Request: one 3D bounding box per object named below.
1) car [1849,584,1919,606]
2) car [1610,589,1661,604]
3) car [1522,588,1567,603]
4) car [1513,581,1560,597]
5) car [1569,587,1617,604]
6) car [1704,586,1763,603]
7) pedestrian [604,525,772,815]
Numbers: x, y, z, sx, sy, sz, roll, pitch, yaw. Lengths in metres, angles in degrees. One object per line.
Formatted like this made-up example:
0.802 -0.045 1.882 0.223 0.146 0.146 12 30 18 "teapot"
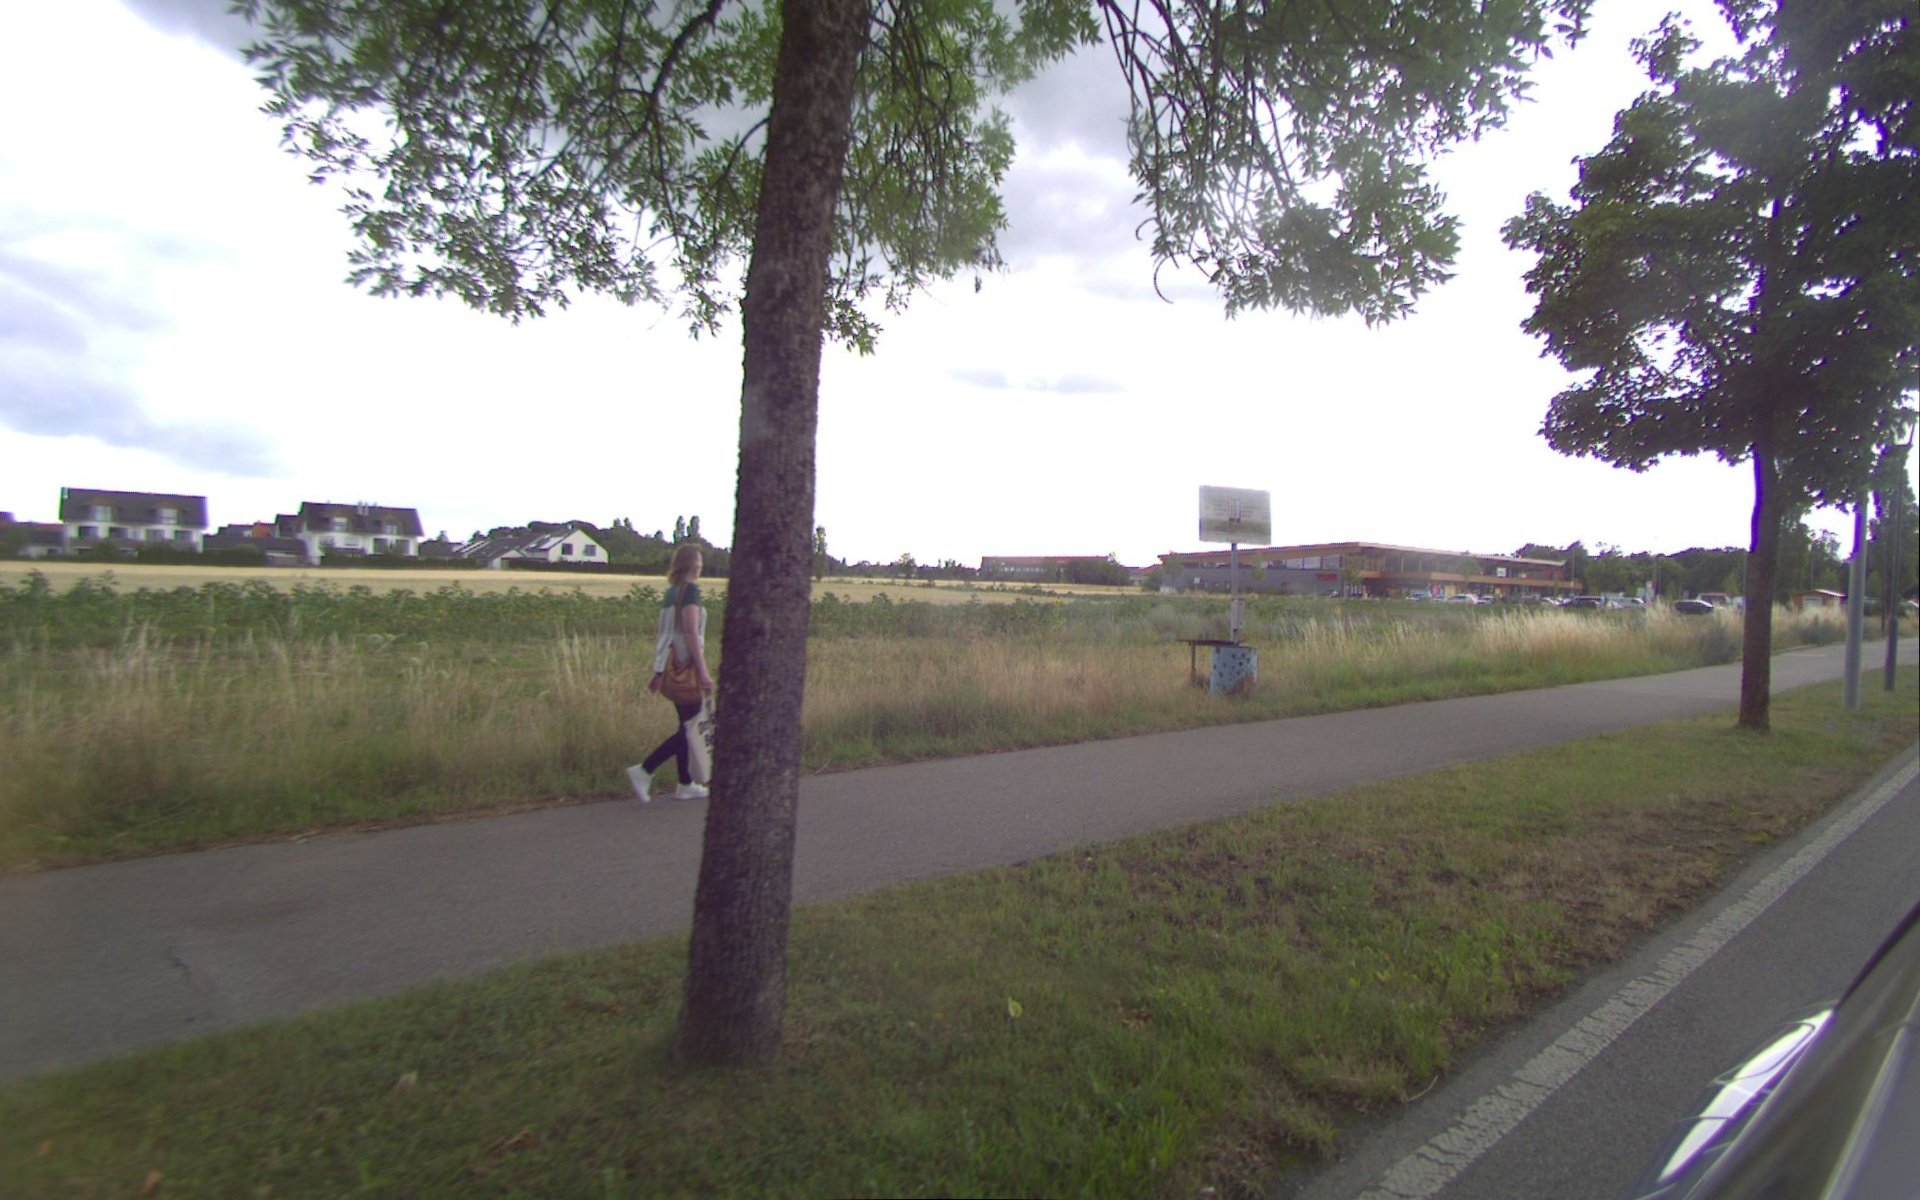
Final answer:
87.771 -0.437 95.639 1.968 2.039 5.512 0 0 -45 "car"
91.226 -0.437 136.770 1.968 2.039 5.512 0 0 -45 "car"
77.815 -0.589 134.710 4.842 2.039 1.969 0 0 44 "car"
73.803 -1.384 129.567 4.842 2.039 1.969 0 0 44 "car"
79.657 -0.561 127.471 4.842 2.039 1.969 0 0 44 "car"
95.032 -0.626 124.403 1.968 2.039 5.512 0 0 -45 "car"
-1.838 0.423 6.802 0.853 1.777 0.840 0 0 -34 "pedestrian"
